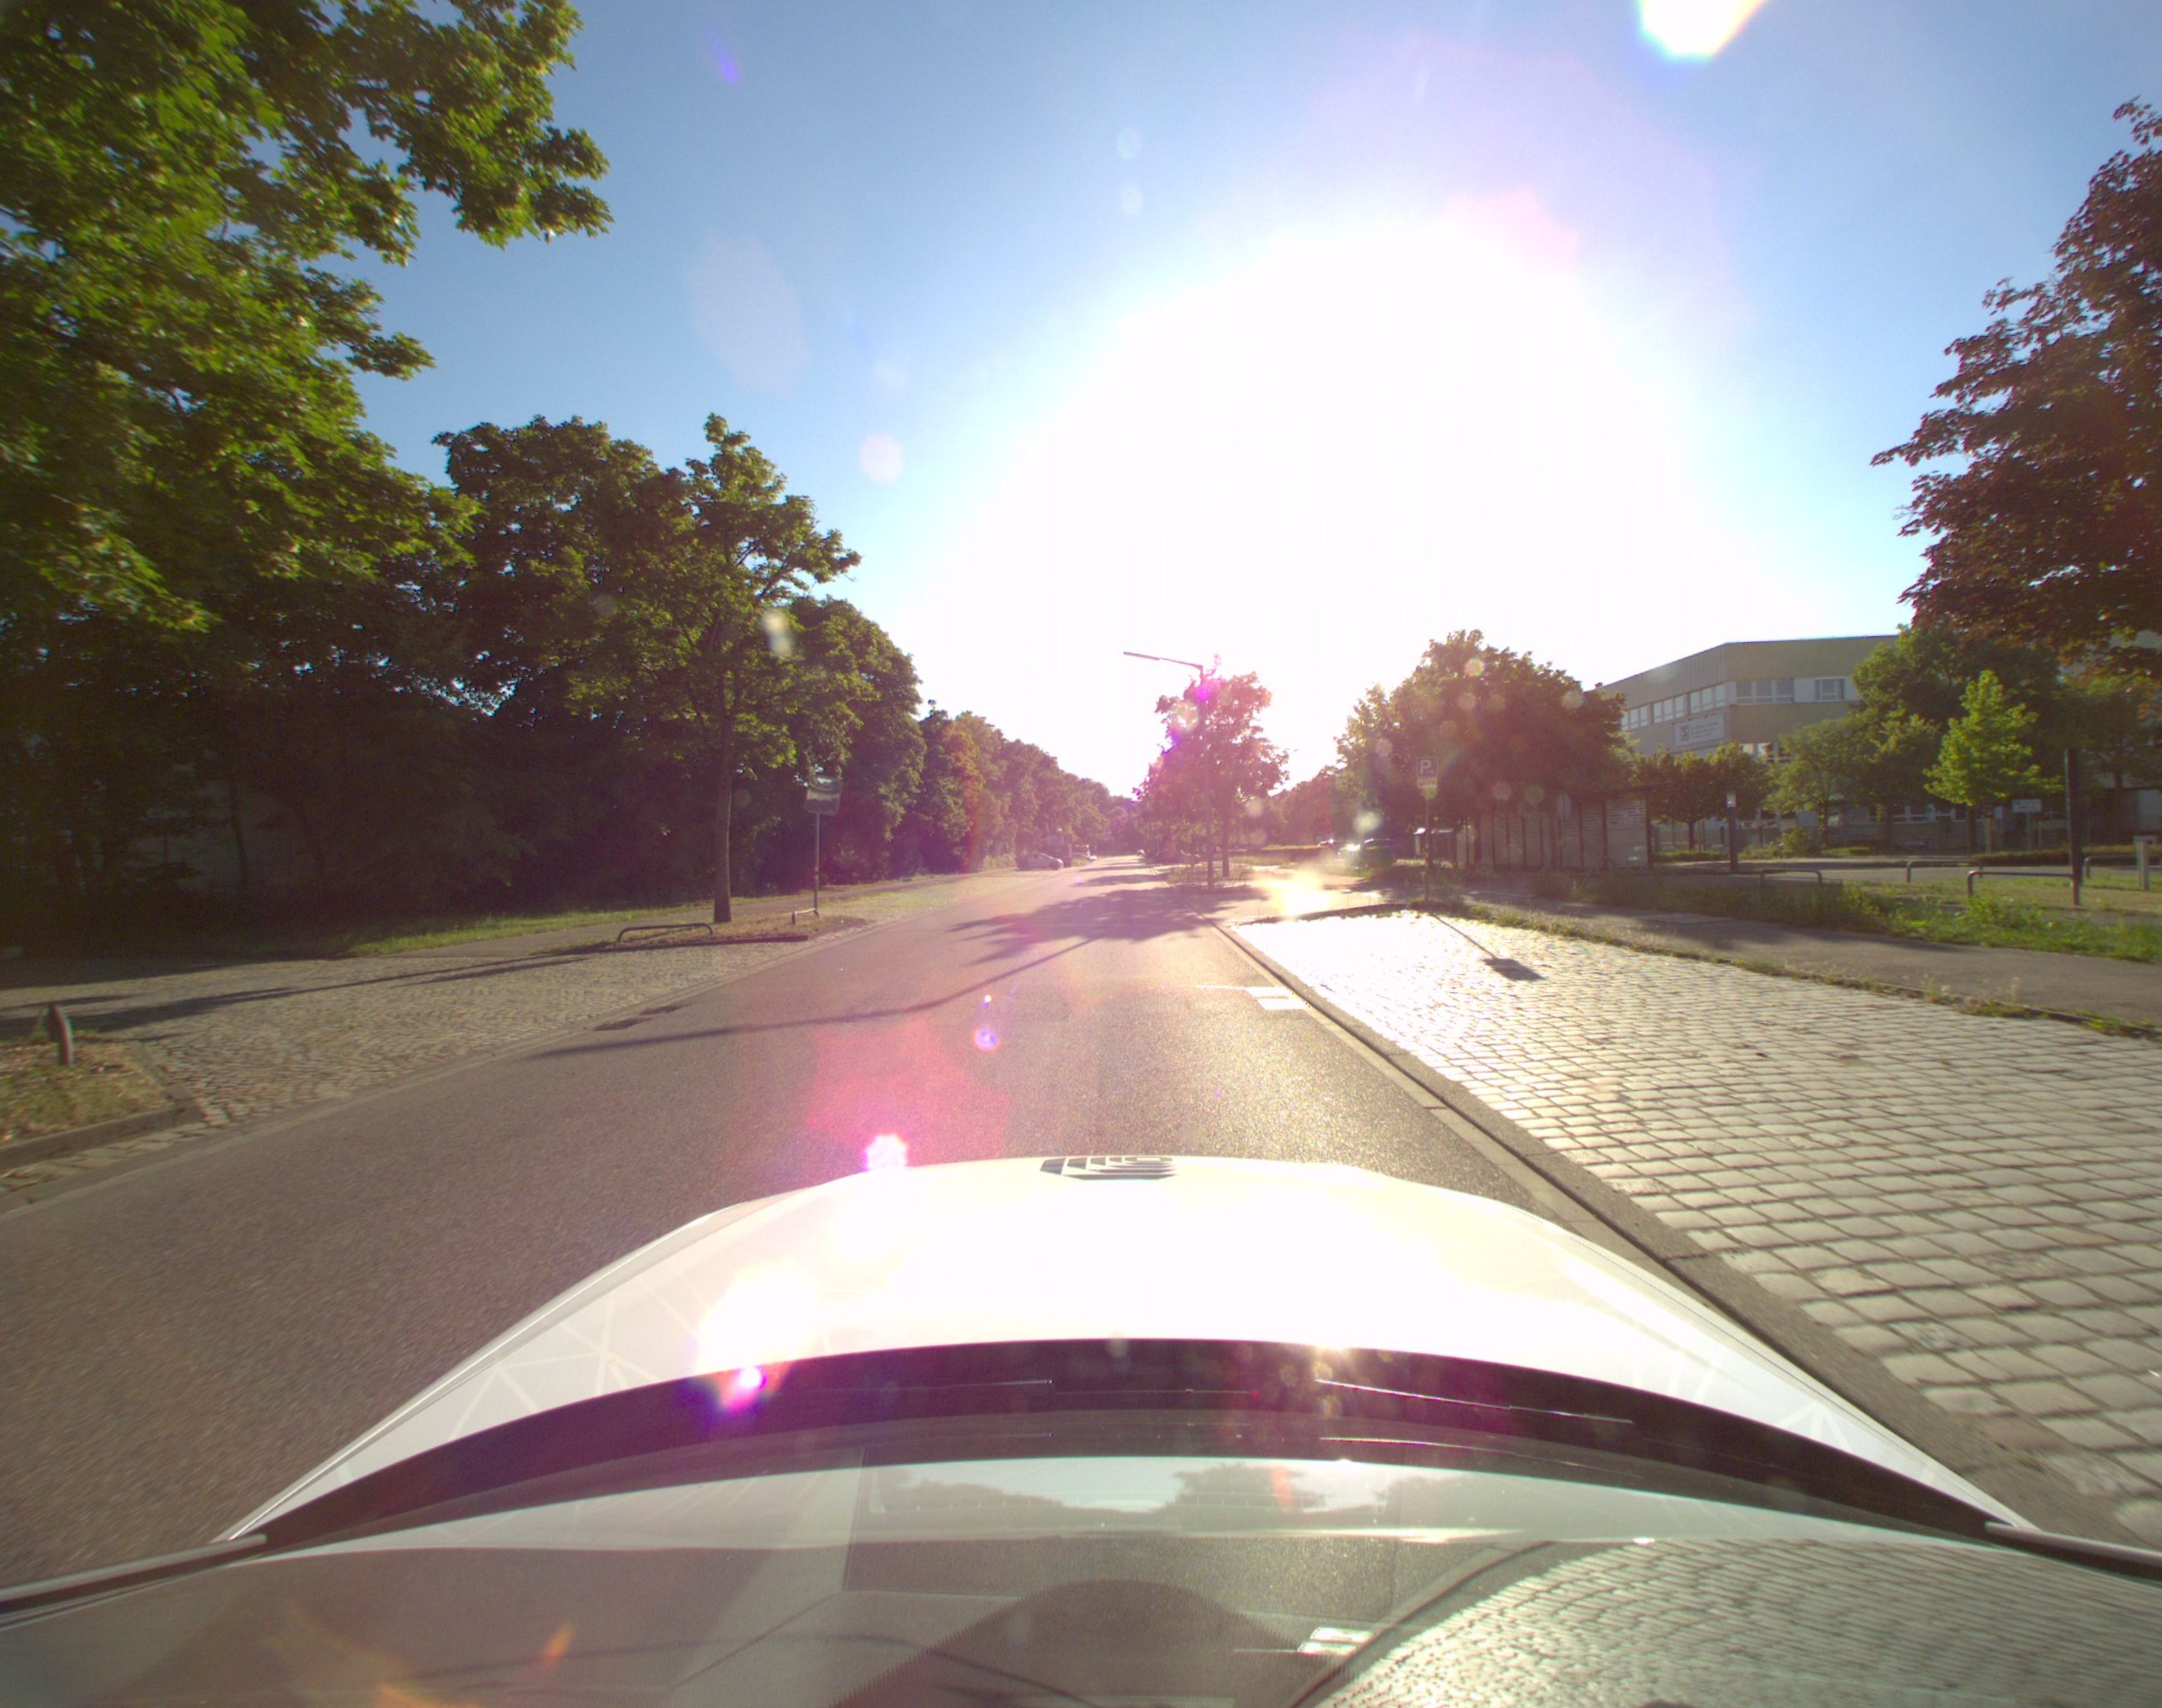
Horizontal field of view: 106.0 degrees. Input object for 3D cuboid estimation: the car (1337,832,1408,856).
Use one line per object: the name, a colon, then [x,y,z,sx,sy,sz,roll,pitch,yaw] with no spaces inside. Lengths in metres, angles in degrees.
car: [20.827,-0.715,58.284,4.412,1.705,2.060,0,0,2]

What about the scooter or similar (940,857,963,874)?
scooter or similar: [-9.541,0.851,60.113,0.570,1.145,1.594,-2,0,43]

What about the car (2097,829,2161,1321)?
car: [5.175,0.527,1.191,4.332,1.479,2.006,-4,0,10]

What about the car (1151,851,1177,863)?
car: [14.128,0.443,138.788,4.341,1.729,2.001,-4,0,2]

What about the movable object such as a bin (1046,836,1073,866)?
movable object such as a bin: [-2.278,-0.334,87.352,2.830,3.068,4.925,0,0,-1]

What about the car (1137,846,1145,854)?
car: [16.111,-1.101,218.049,1.986,1.903,4.001,-2,0,1]

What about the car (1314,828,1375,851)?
car: [21.144,-1.148,65.471,4.338,1.705,2.003,-2,1,4]

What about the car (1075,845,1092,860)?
car: [0.363,-0.287,136.867,2.511,2.386,4.367,-2,0,-3]

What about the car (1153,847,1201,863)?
car: [9.775,0.124,83.389,4.820,1.479,2.002,-2,0,4]

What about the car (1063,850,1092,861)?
car: [-0.533,0.248,127.541,4.349,1.479,1.998,-2,0,-4]

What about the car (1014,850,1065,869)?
car: [-3.786,0.501,74.676,4.339,1.547,2.002,-2,0,4]

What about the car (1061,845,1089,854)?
car: [-0.929,-0.716,130.076,4.349,1.479,1.998,0,0,-4]
